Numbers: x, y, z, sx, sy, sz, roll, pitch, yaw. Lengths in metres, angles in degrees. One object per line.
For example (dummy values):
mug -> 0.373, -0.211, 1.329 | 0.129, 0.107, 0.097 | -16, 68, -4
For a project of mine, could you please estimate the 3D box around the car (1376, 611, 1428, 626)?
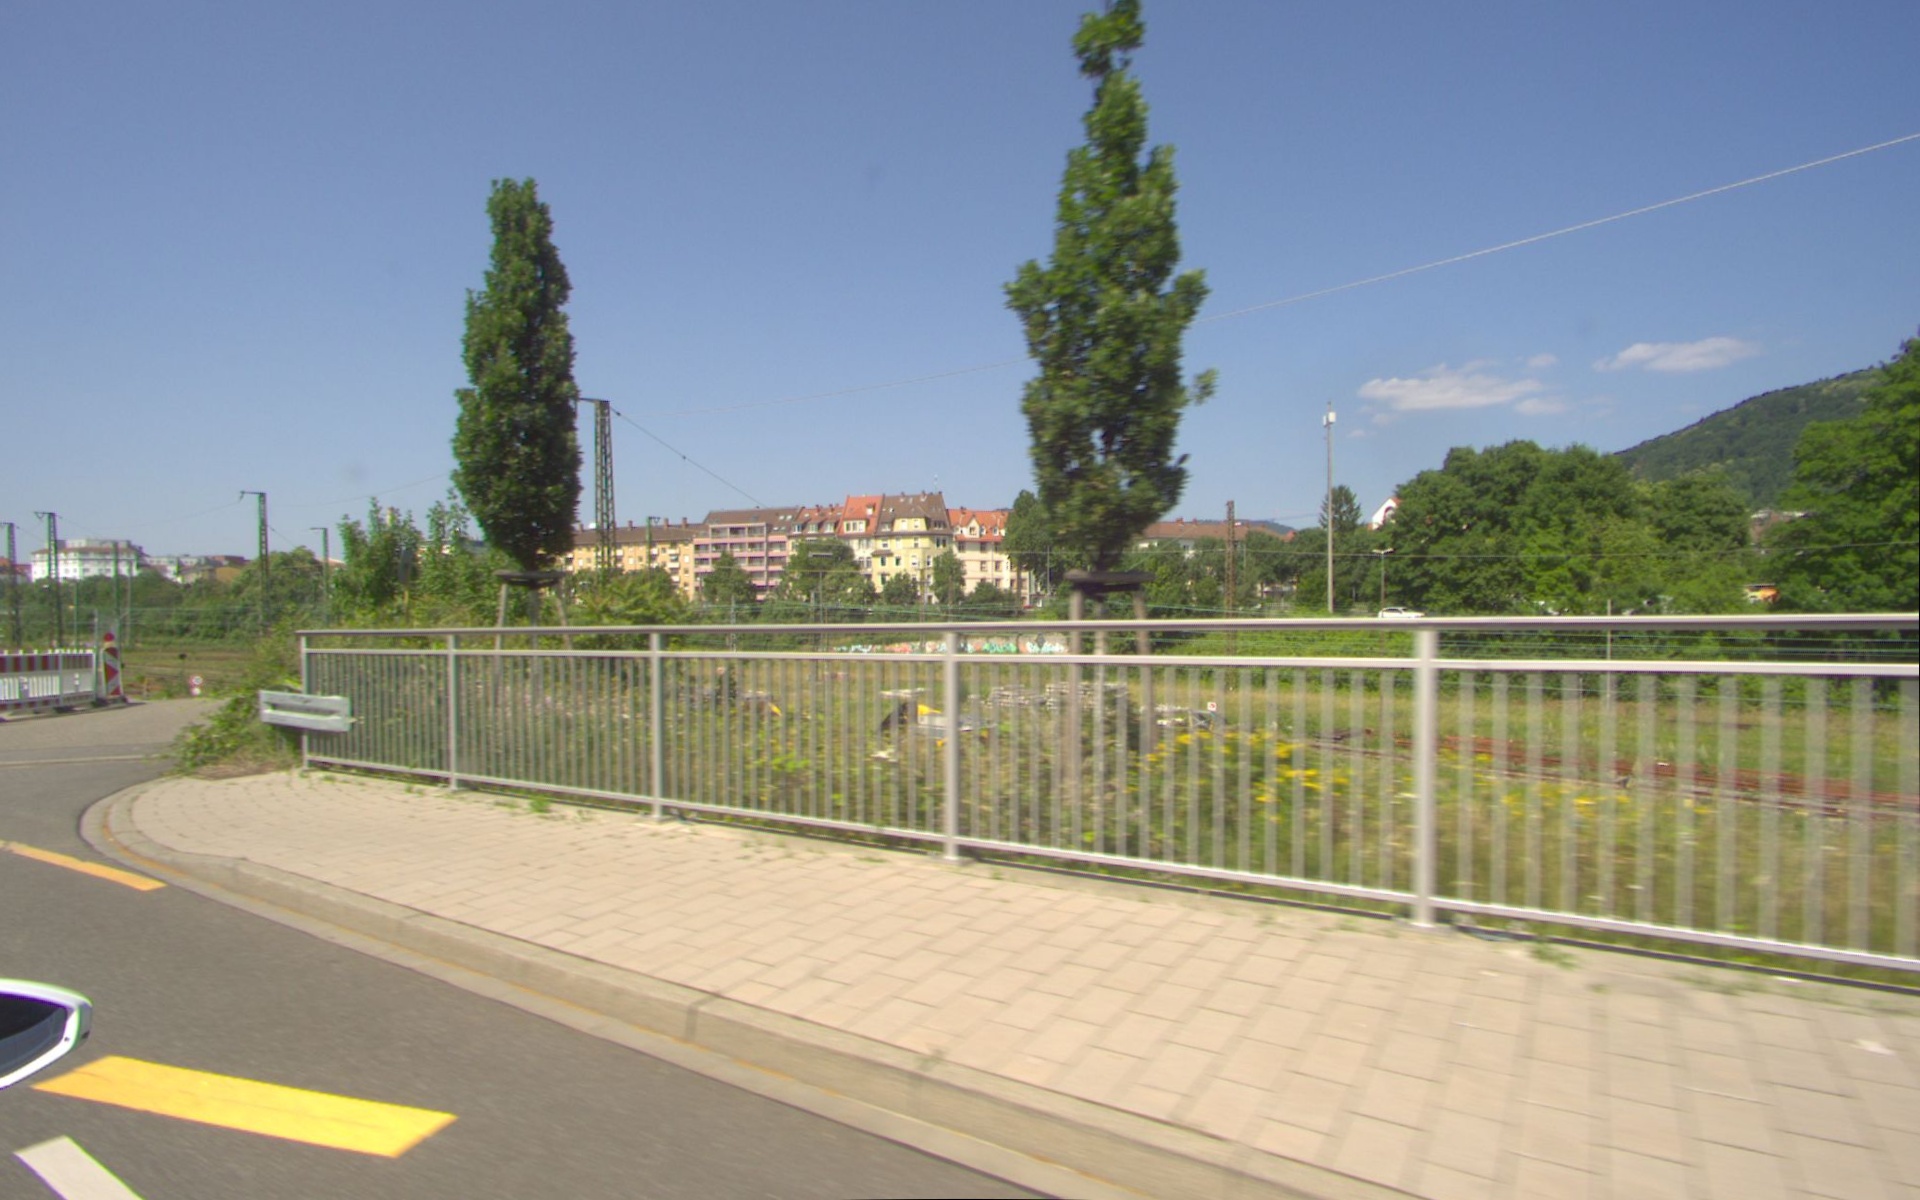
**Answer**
car -> 41.734, 1.737, 94.569 | 1.837, 1.385, 4.298 | 0, -1, -27

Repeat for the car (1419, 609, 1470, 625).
car -> 43.681, 1.524, 90.347 | 1.756, 1.385, 3.825 | 0, -1, -28
